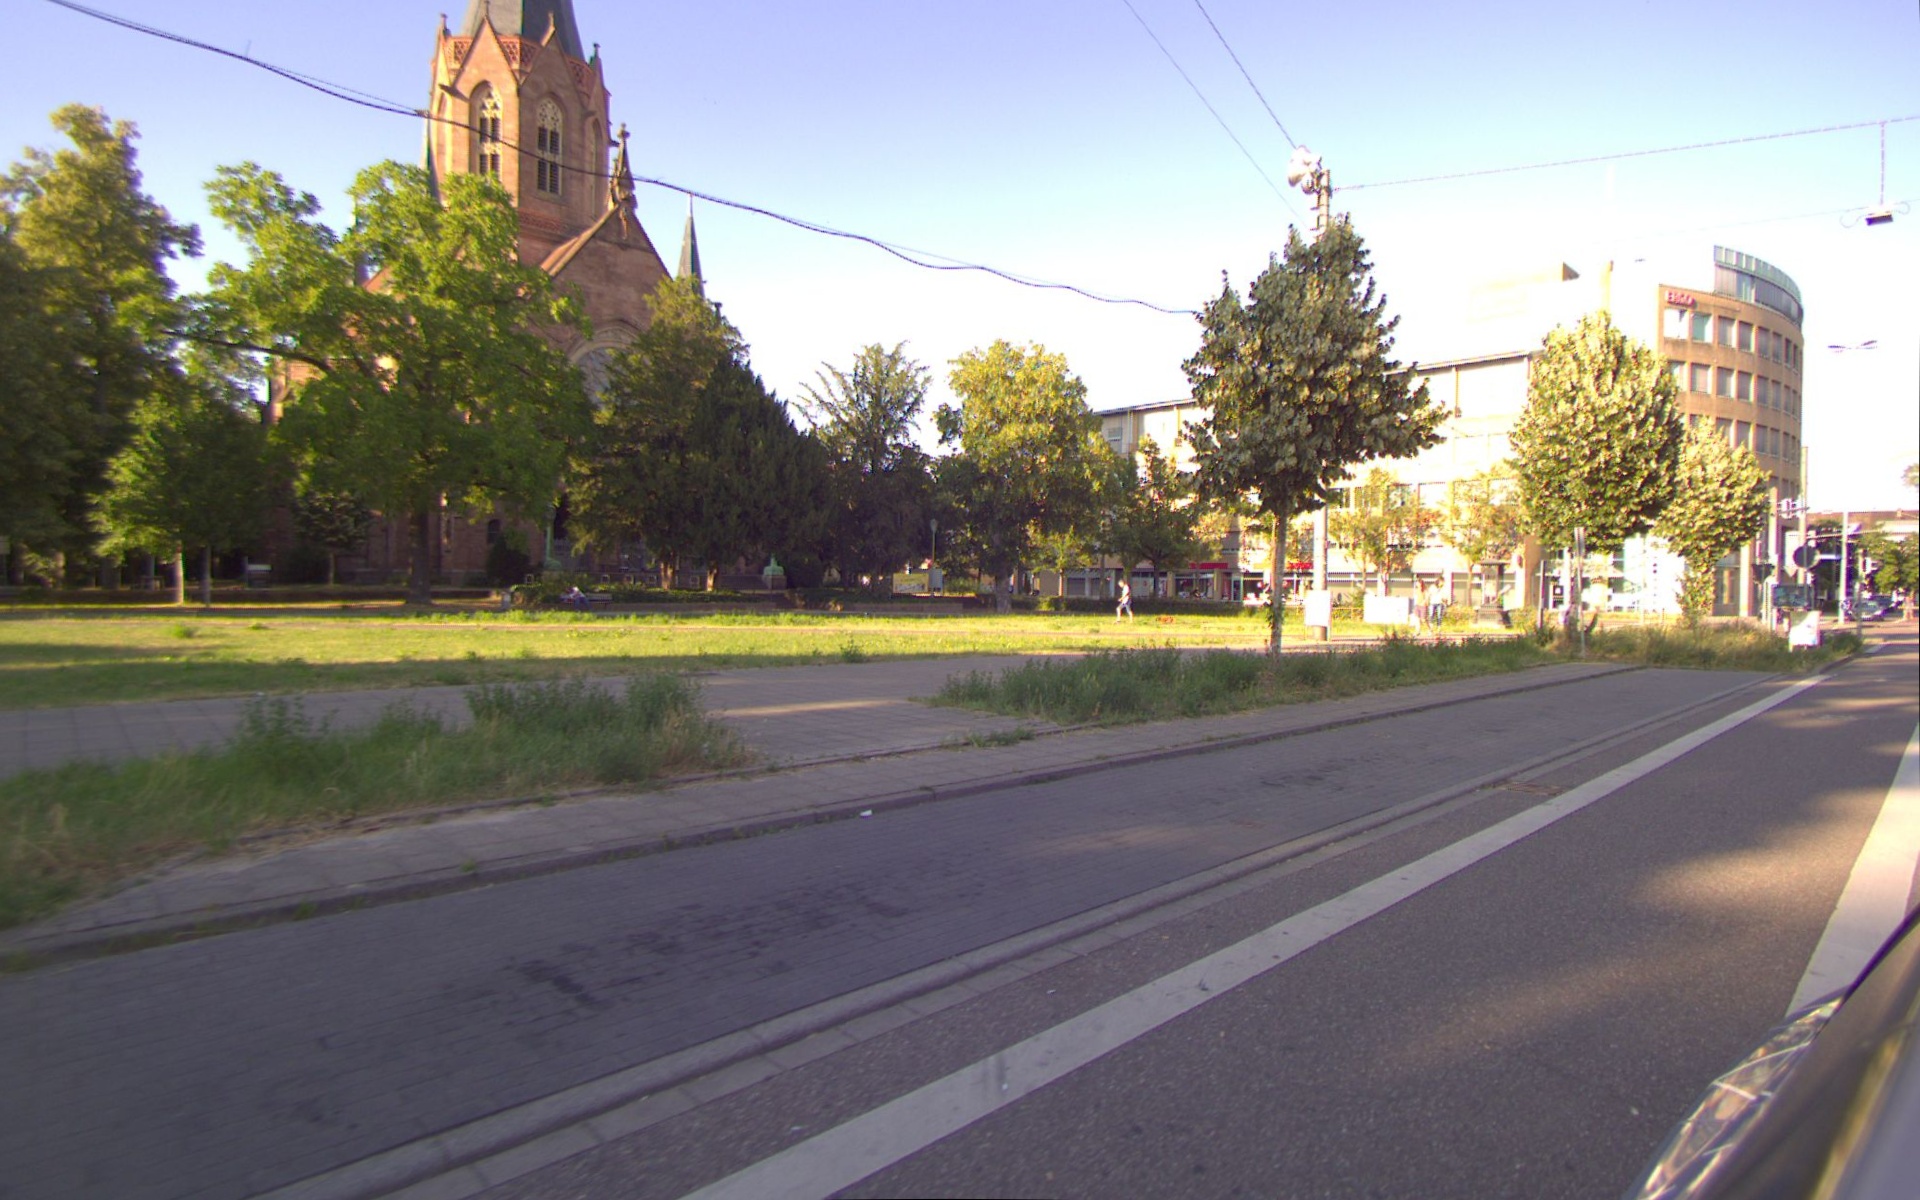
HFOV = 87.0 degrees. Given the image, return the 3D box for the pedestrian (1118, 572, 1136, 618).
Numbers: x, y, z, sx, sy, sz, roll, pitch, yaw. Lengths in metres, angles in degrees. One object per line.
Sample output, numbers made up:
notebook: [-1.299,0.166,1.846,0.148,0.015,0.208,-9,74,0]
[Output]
pedestrian: [6.504,-0.206,39.497,0.633,1.761,0.594,1,0,13]

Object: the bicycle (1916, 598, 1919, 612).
bicycle: [64.377,0.323,67.553,1.746,0.940,0.608,0,1,-41]

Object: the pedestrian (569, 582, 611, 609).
pedestrian: [-14.487,-0.192,39.621,1.259,1.006,1.384,0,1,-33]

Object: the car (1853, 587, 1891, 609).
car: [63.691,-0.158,70.644,3.949,1.491,1.766,-1,0,-45]

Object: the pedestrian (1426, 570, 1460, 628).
pedestrian: [14.693,-0.035,30.813,0.768,1.709,0.599,1,2,-40]

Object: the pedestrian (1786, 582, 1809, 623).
pedestrian: [36.622,0.092,44.241,0.702,1.746,0.650,0,1,-41]

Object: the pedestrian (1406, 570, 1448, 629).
pedestrian: [13.747,-0.006,29.791,0.899,1.670,0.741,1,3,-40]

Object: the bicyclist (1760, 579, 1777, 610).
bicyclist: [50.596,-0.343,63.334,0.684,1.963,0.578,0,-1,-32]
